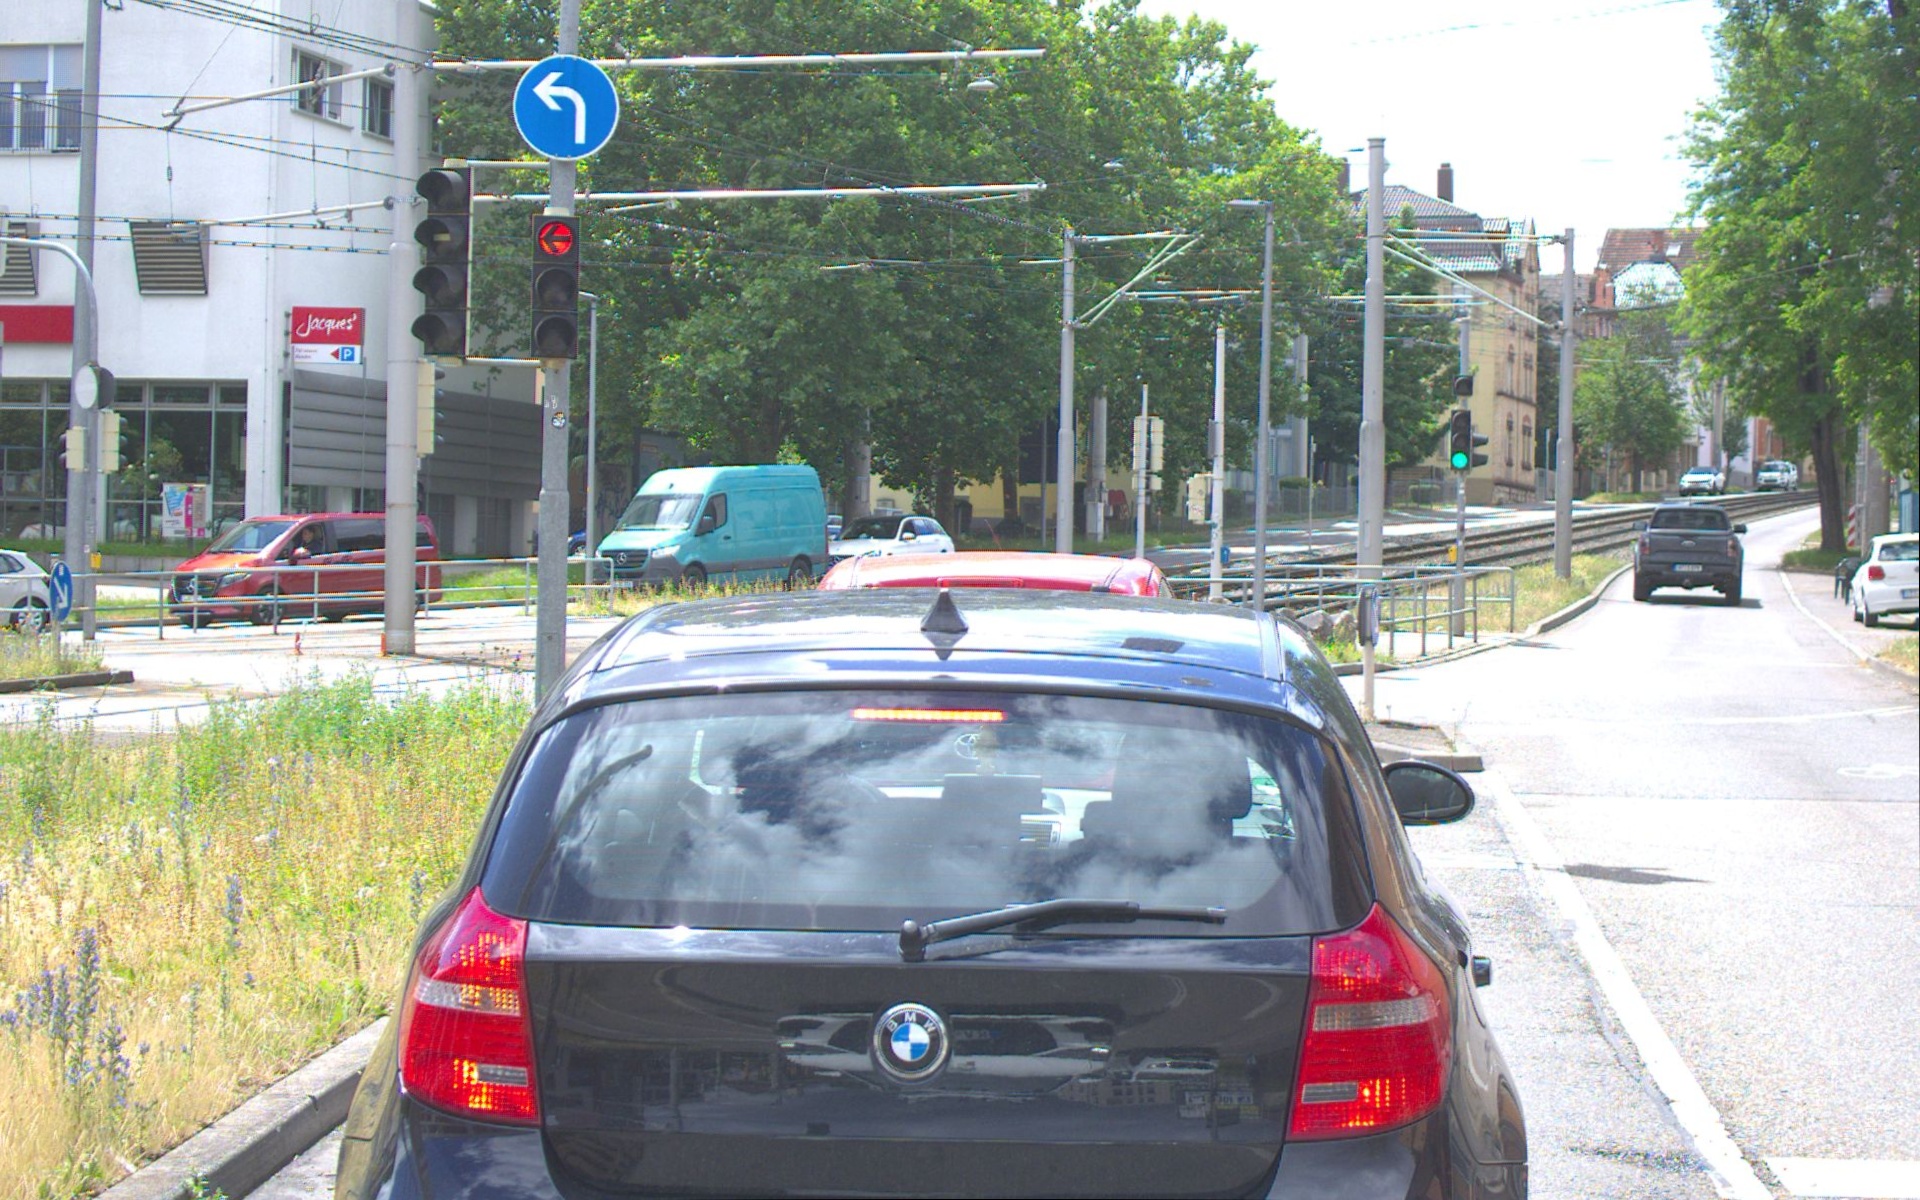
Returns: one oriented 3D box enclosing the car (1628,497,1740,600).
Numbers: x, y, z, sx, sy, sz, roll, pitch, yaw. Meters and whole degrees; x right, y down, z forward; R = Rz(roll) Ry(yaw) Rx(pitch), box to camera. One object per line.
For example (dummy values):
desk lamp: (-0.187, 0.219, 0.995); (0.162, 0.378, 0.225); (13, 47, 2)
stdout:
car: (13.956, -0.968, 66.219); (2.000, 1.880, 5.147); (0, 0, 12)

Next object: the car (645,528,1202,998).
car: (0.019, 0.507, 12.825); (1.625, 1.468, 3.999); (0, 0, 6)

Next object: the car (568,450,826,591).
car: (-5.103, -1.513, 67.551); (2.134, 2.645, 5.680); (0, 0, 31)

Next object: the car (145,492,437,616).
car: (-11.253, -0.765, 58.142); (1.857, 2.002, 4.787); (0, 0, 38)

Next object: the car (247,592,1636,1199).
car: (-0.110, 0.717, 6.216); (1.701, 1.447, 4.000); (0, 0, -3)

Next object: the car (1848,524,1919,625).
car: (15.439, -0.410, 55.937); (1.788, 1.590, 3.998); (0, 0, 13)

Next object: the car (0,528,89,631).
car: (-15.747, -0.309, 52.913); (1.857, 1.579, 4.159); (0, 0, 45)

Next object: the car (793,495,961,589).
car: (-1.727, -1.211, 73.529); (1.855, 1.921, 4.792); (0, 0, 21)

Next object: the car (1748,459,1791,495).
car: (48.753, -7.386, 207.035); (1.996, 2.007, 3.996); (0, 0, 21)

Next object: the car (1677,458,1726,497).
car: (40.518, -6.679, 187.738); (1.996, 2.007, 3.996); (0, 0, 21)

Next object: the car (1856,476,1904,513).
car: (43.984, -5.028, 164.241); (1.995, 1.656, 3.996); (0, 0, 18)
